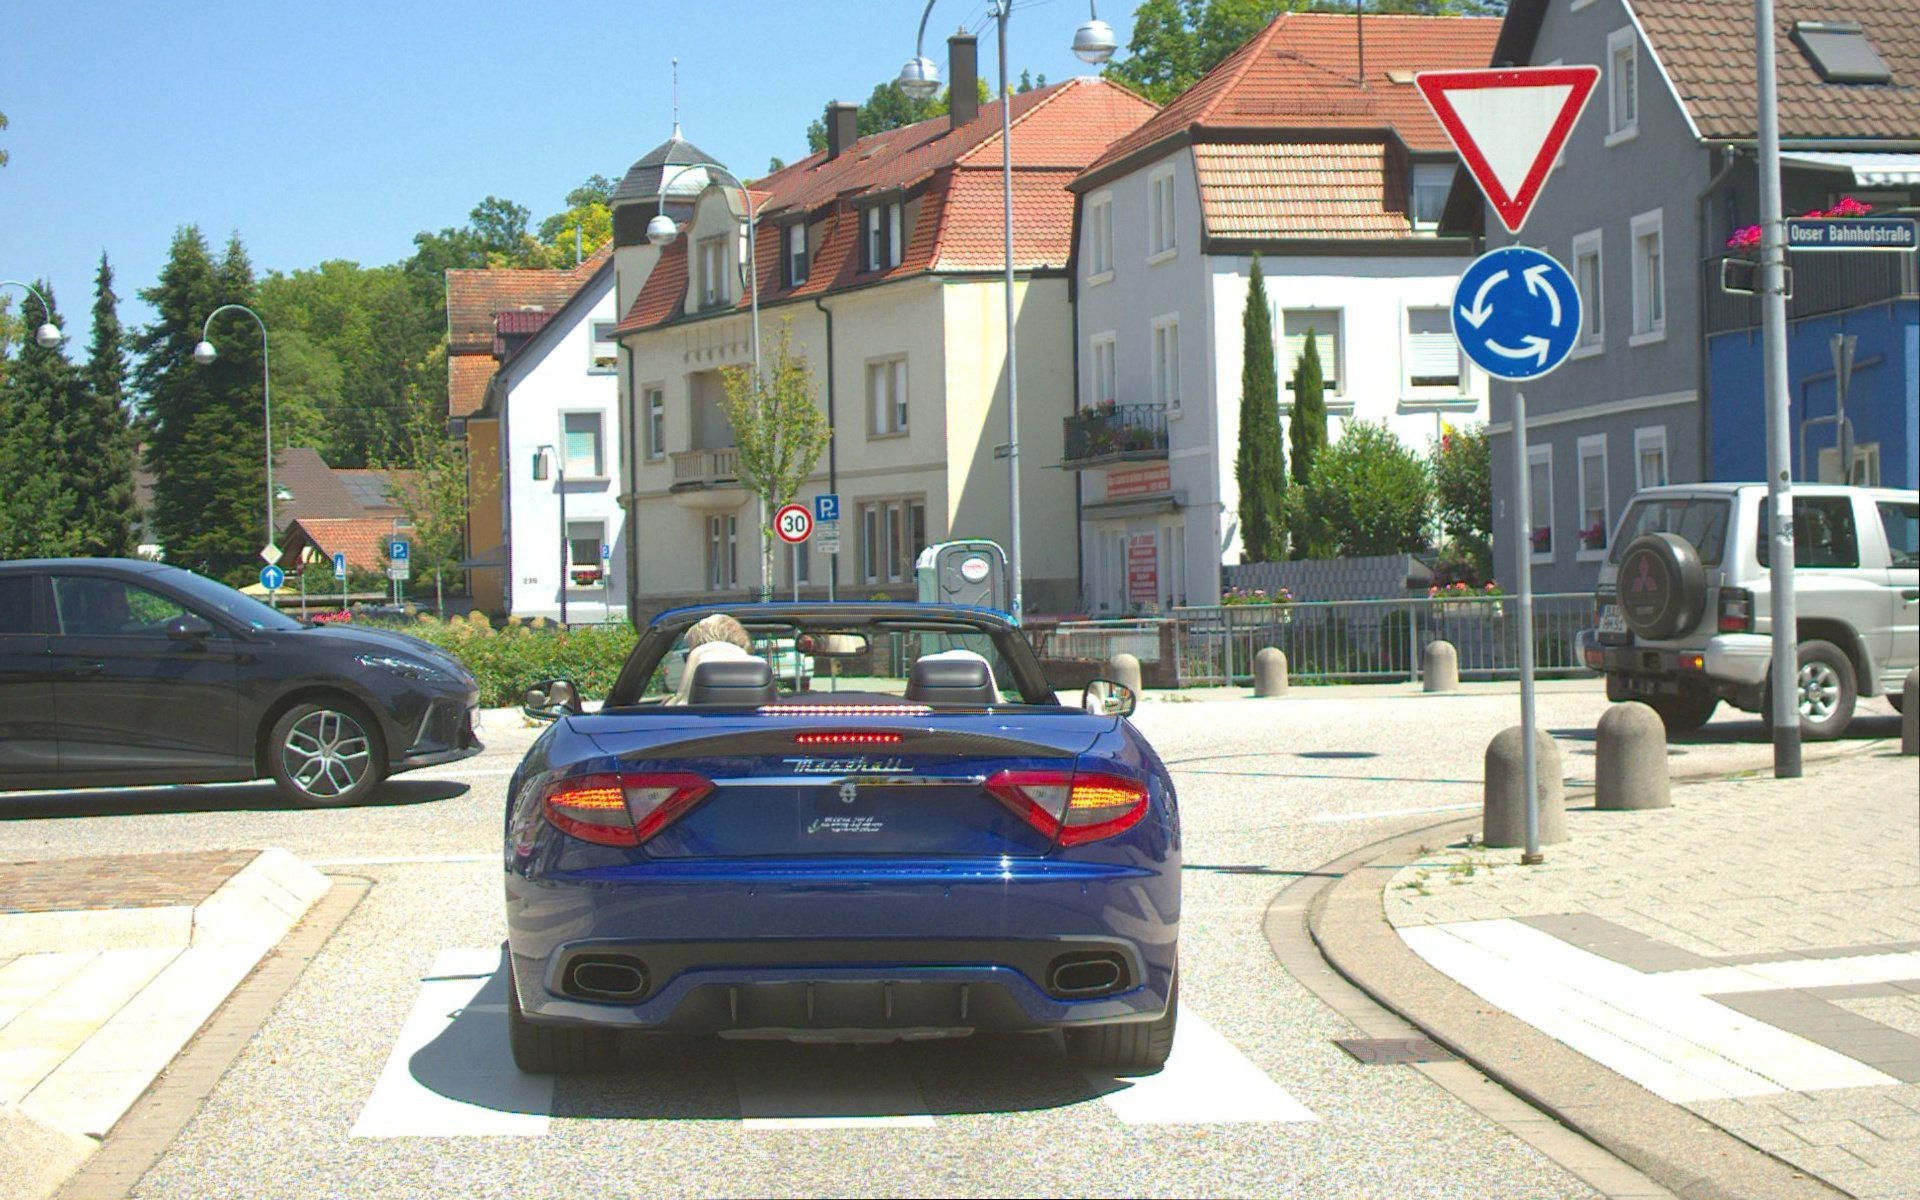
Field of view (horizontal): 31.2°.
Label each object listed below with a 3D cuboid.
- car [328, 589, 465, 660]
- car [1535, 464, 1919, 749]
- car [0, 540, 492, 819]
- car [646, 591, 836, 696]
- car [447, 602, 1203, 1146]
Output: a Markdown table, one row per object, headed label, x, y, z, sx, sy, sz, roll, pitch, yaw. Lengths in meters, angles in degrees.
| label | x | y | z | sx | sy | sz | roll | pitch | yaw |
| --- | --- | --- | --- | --- | --- | --- | --- | --- | --- |
| car | -13.811 | 0.612 | 84.123 | 1.850 | 1.583 | 4.000 | -3 | 0 | -32 |
| car | 6.433 | -0.031 | 24.884 | 4.216 | 1.868 | 1.764 | -2 | 3 | -26 |
| car | -5.076 | 0.477 | 20.776 | 4.248 | 1.542 | 1.811 | -2 | 0 | -2 |
| car | -3.677 | 0.752 | 57.083 | 1.918 | 1.607 | 4.148 | -2 | -1 | -21 |
| car | -0.352 | 0.697 | 10.880 | 1.910 | 1.356 | 4.285 | -1 | 0 | 0 |
